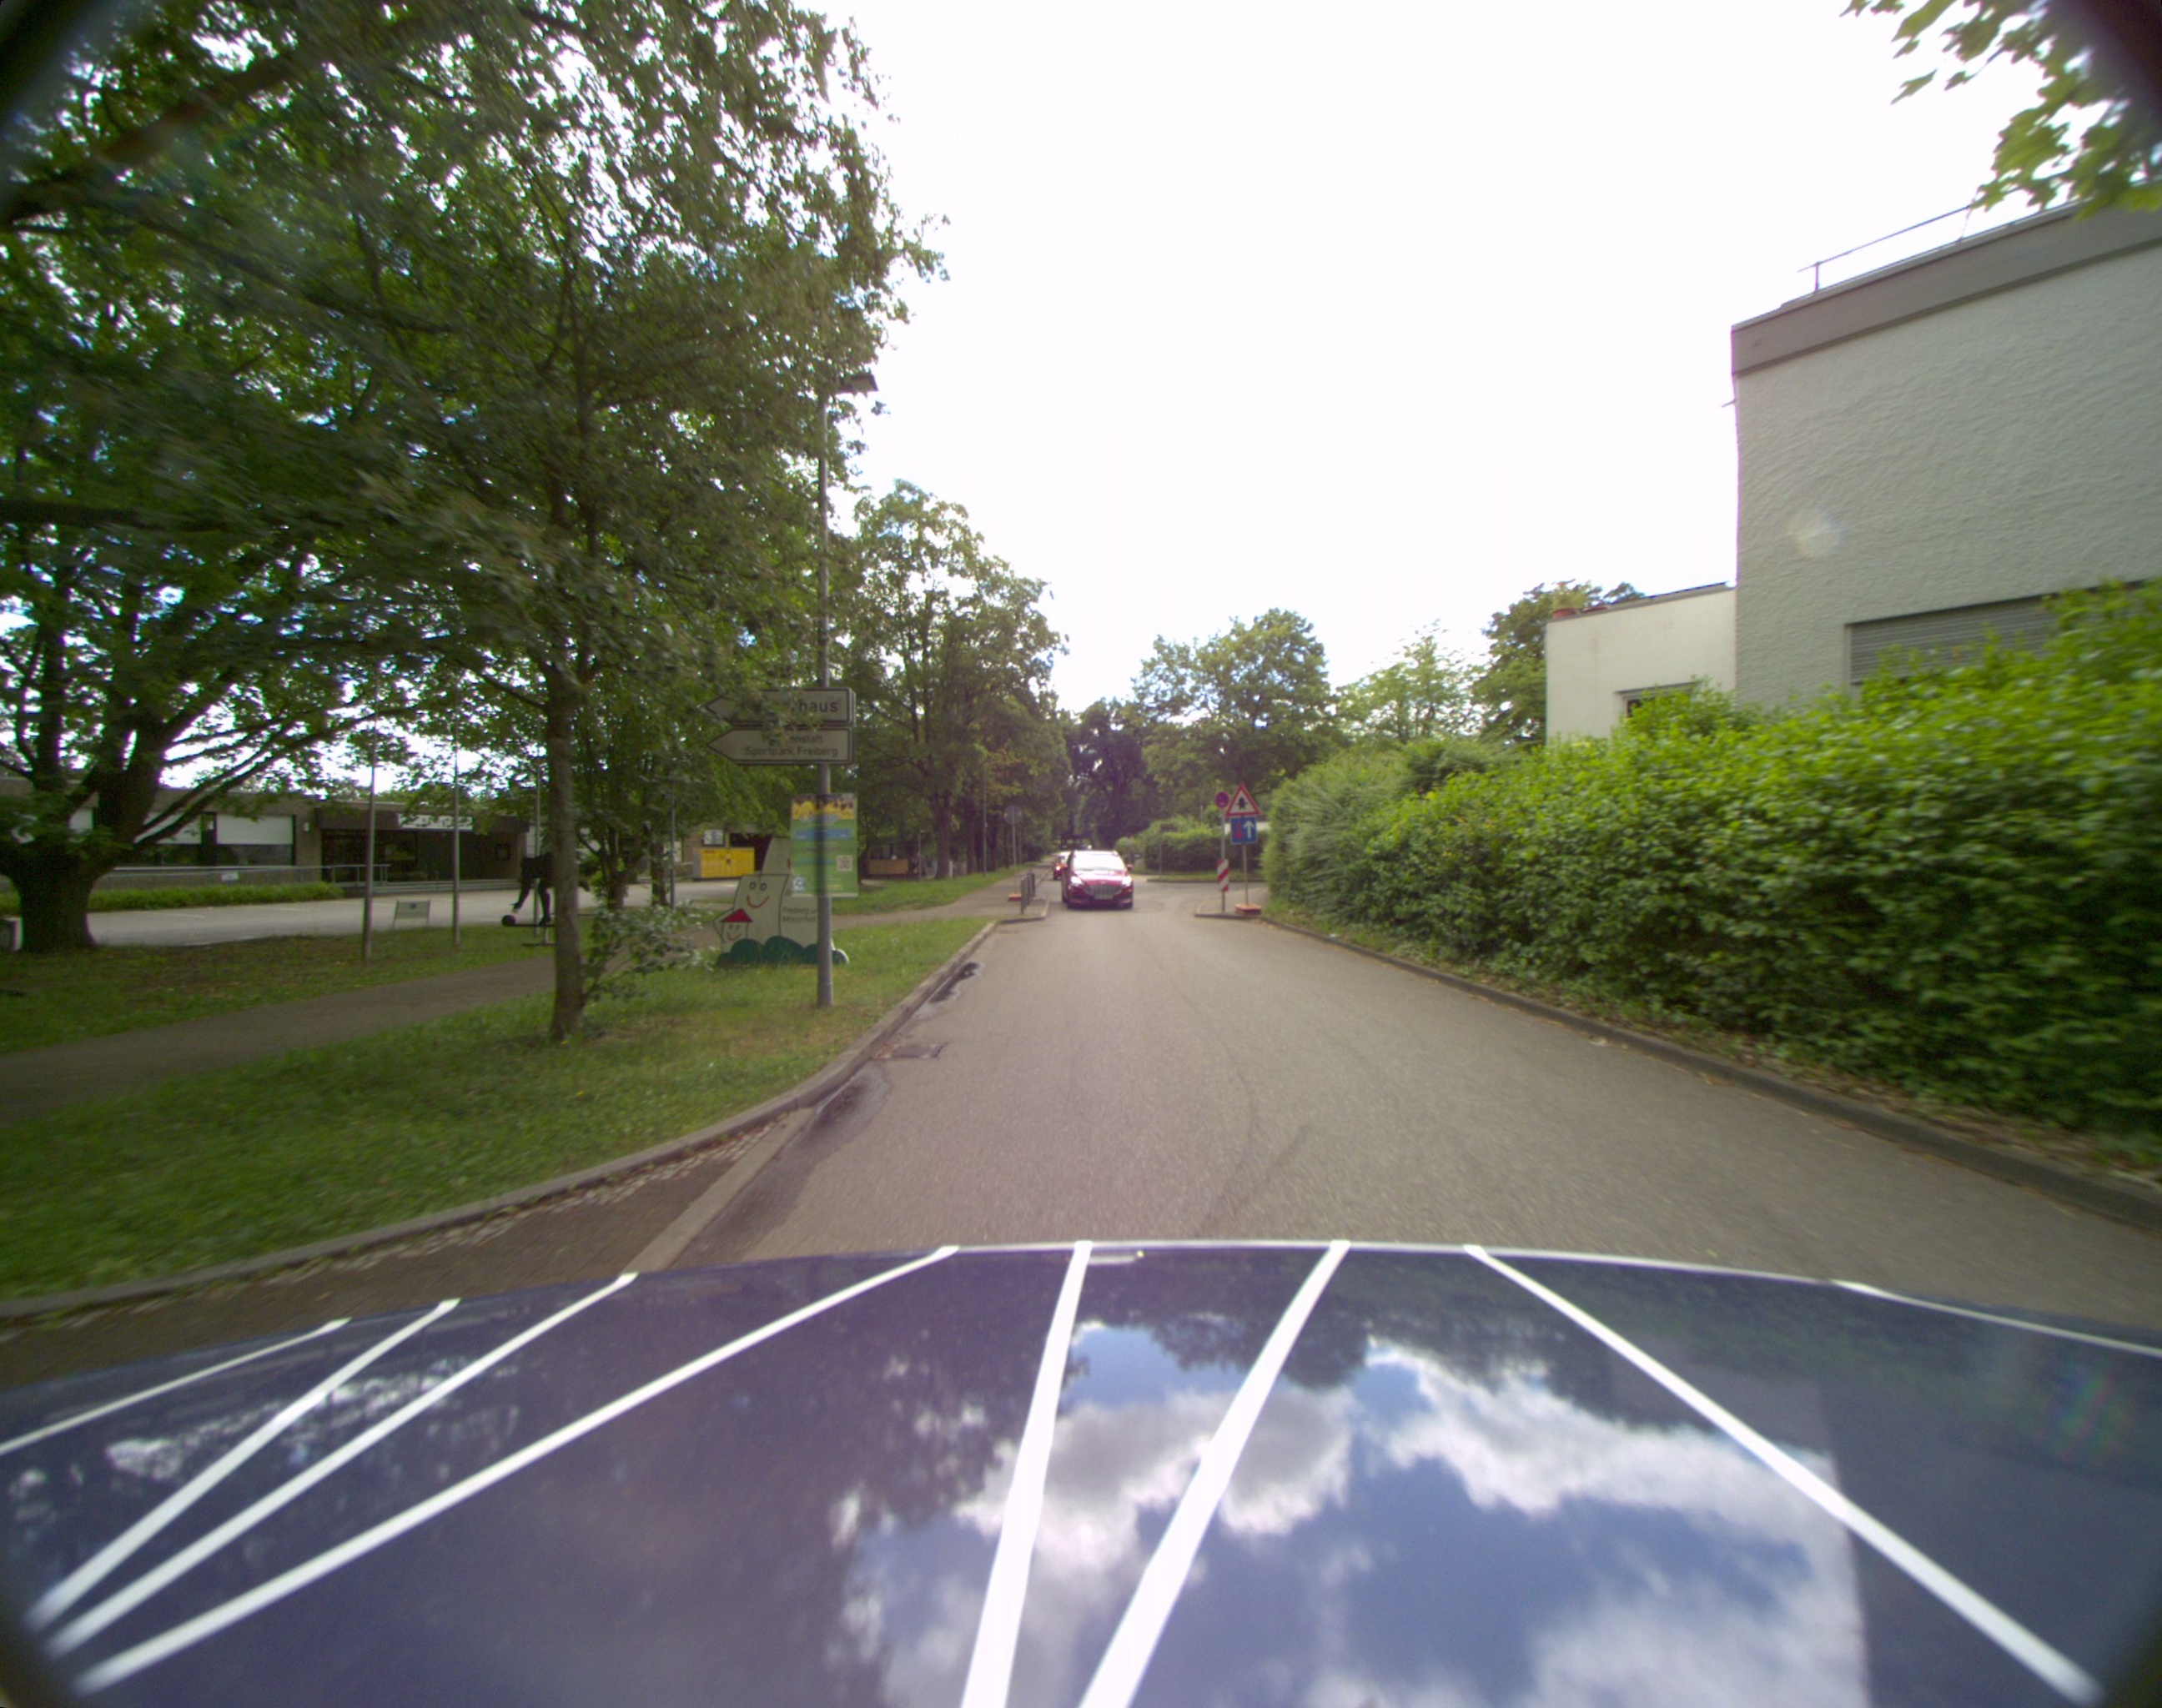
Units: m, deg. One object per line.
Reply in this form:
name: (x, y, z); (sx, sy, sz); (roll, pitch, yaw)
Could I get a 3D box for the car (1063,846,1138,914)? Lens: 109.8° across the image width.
car: (0.458, 0.669, 22.228); (1.918, 1.707, 5.038); (-1, 0, -1)

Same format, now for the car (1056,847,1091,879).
car: (-0.469, 0.502, 45.385); (1.918, 1.707, 5.038); (-1, 0, -1)
